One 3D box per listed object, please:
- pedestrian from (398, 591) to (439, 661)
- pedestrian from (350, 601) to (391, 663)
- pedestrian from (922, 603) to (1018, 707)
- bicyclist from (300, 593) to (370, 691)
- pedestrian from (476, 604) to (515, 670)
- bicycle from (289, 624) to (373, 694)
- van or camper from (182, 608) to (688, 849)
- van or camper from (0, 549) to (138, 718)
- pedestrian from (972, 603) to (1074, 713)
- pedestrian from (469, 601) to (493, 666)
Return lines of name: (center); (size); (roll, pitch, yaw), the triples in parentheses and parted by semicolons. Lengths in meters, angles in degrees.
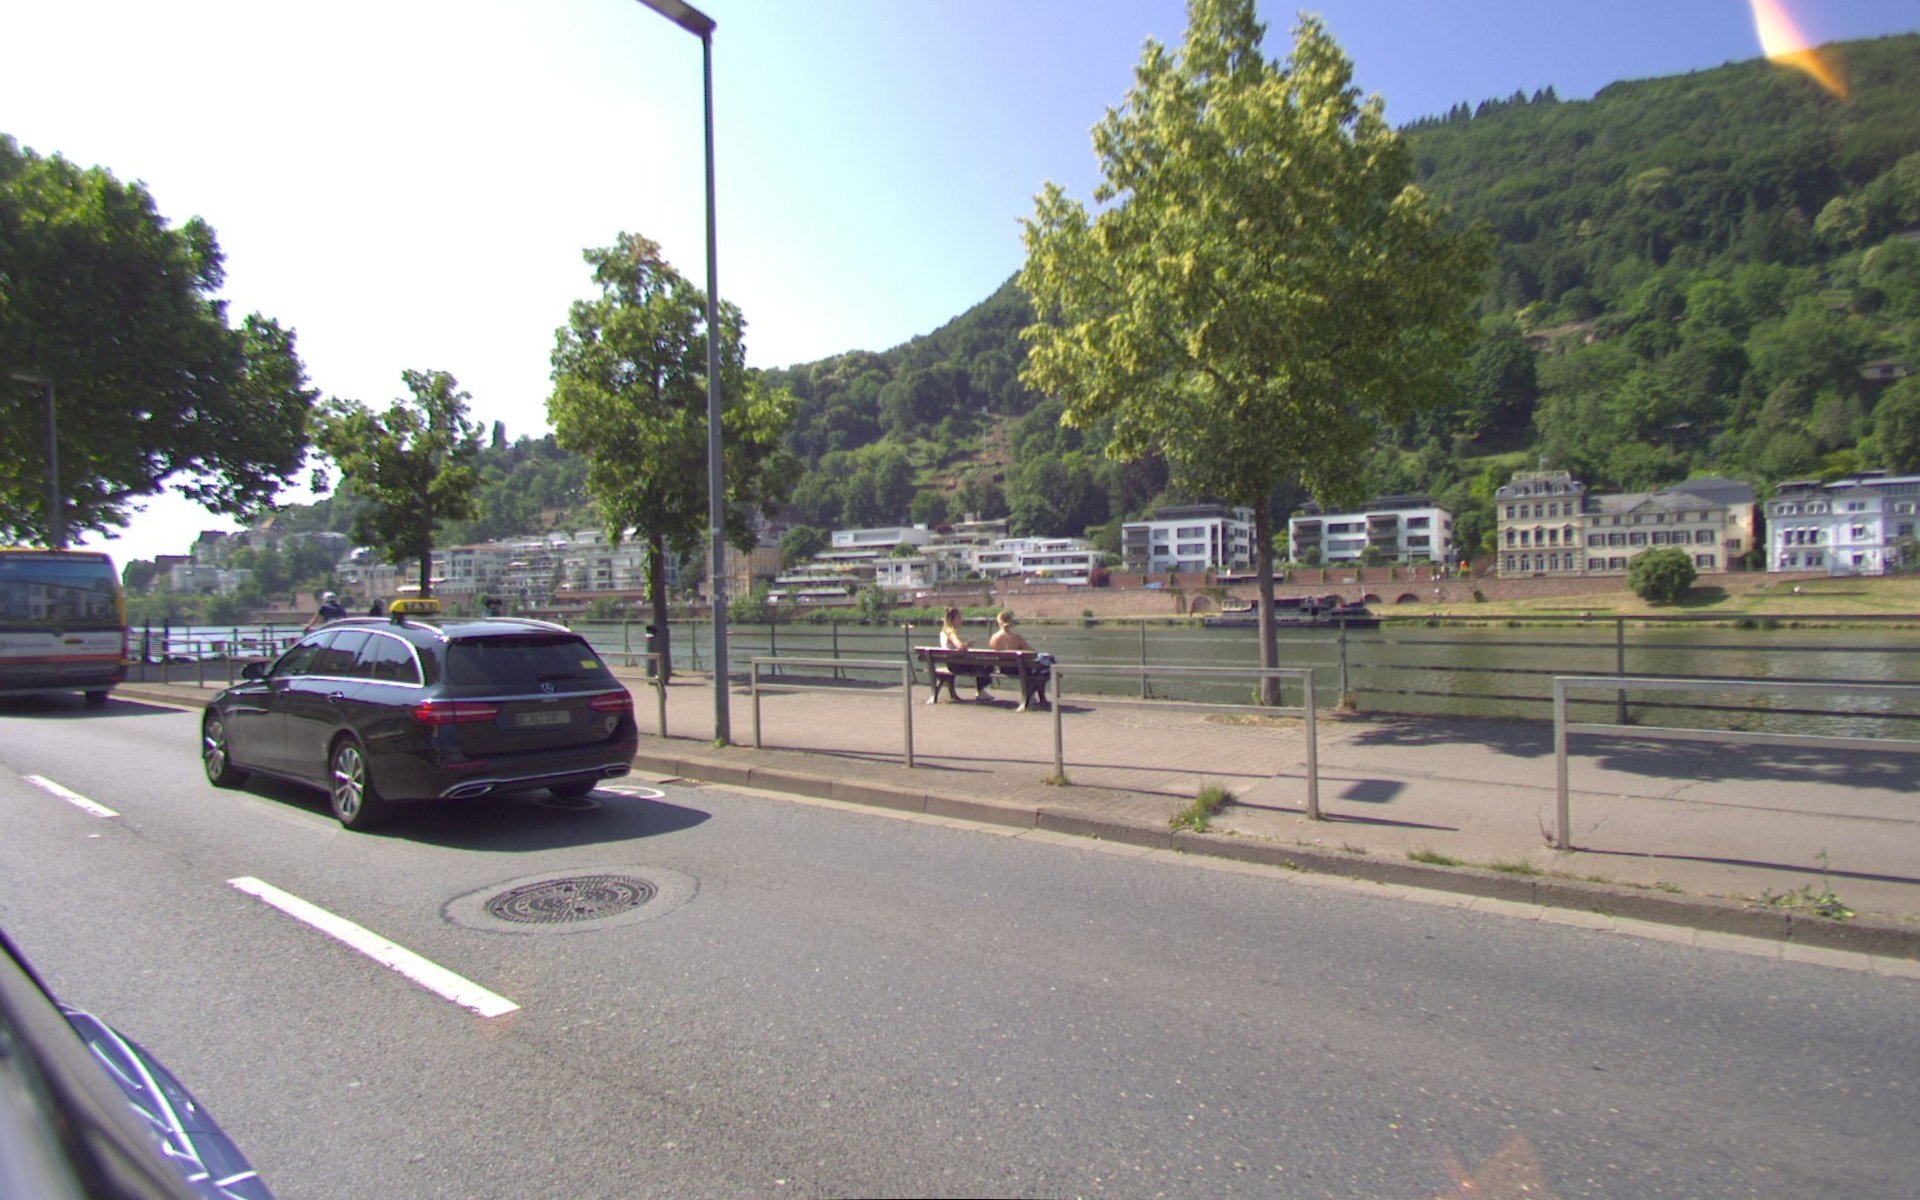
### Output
pedestrian: (-15.514, 0.742, 29.008); (0.885, 1.960, 0.687); (-1, 0, 35)
pedestrian: (-16.630, 0.886, 28.564); (0.658, 1.695, 0.748); (-1, 2, 40)
pedestrian: (0.134, 0.688, 13.245); (0.850, 1.290, 0.926); (-1, 0, 44)
bicyclist: (-11.140, 0.734, 18.032); (1.088, 1.680, 0.733); (-2, -1, 40)
pedestrian: (-11.669, 0.911, 25.408); (0.664, 1.628, 0.686); (-1, 0, 43)
bicycle: (-11.308, 1.039, 18.163); (1.894, 1.177, 0.704); (-2, 0, 40)
van or camper: (-4.519, 0.831, 8.402); (4.676, 1.466, 1.974); (-1, -2, 38)
van or camper: (-17.114, 0.545, 18.097); (7.079, 2.576, 2.068); (-1, 0, 37)
pedestrian: (0.785, 0.688, 12.605); (0.850, 1.290, 0.926); (-1, 0, 44)
pedestrian: (-12.159, 0.844, 25.703); (0.451, 1.609, 0.410); (-1, 0, 43)
